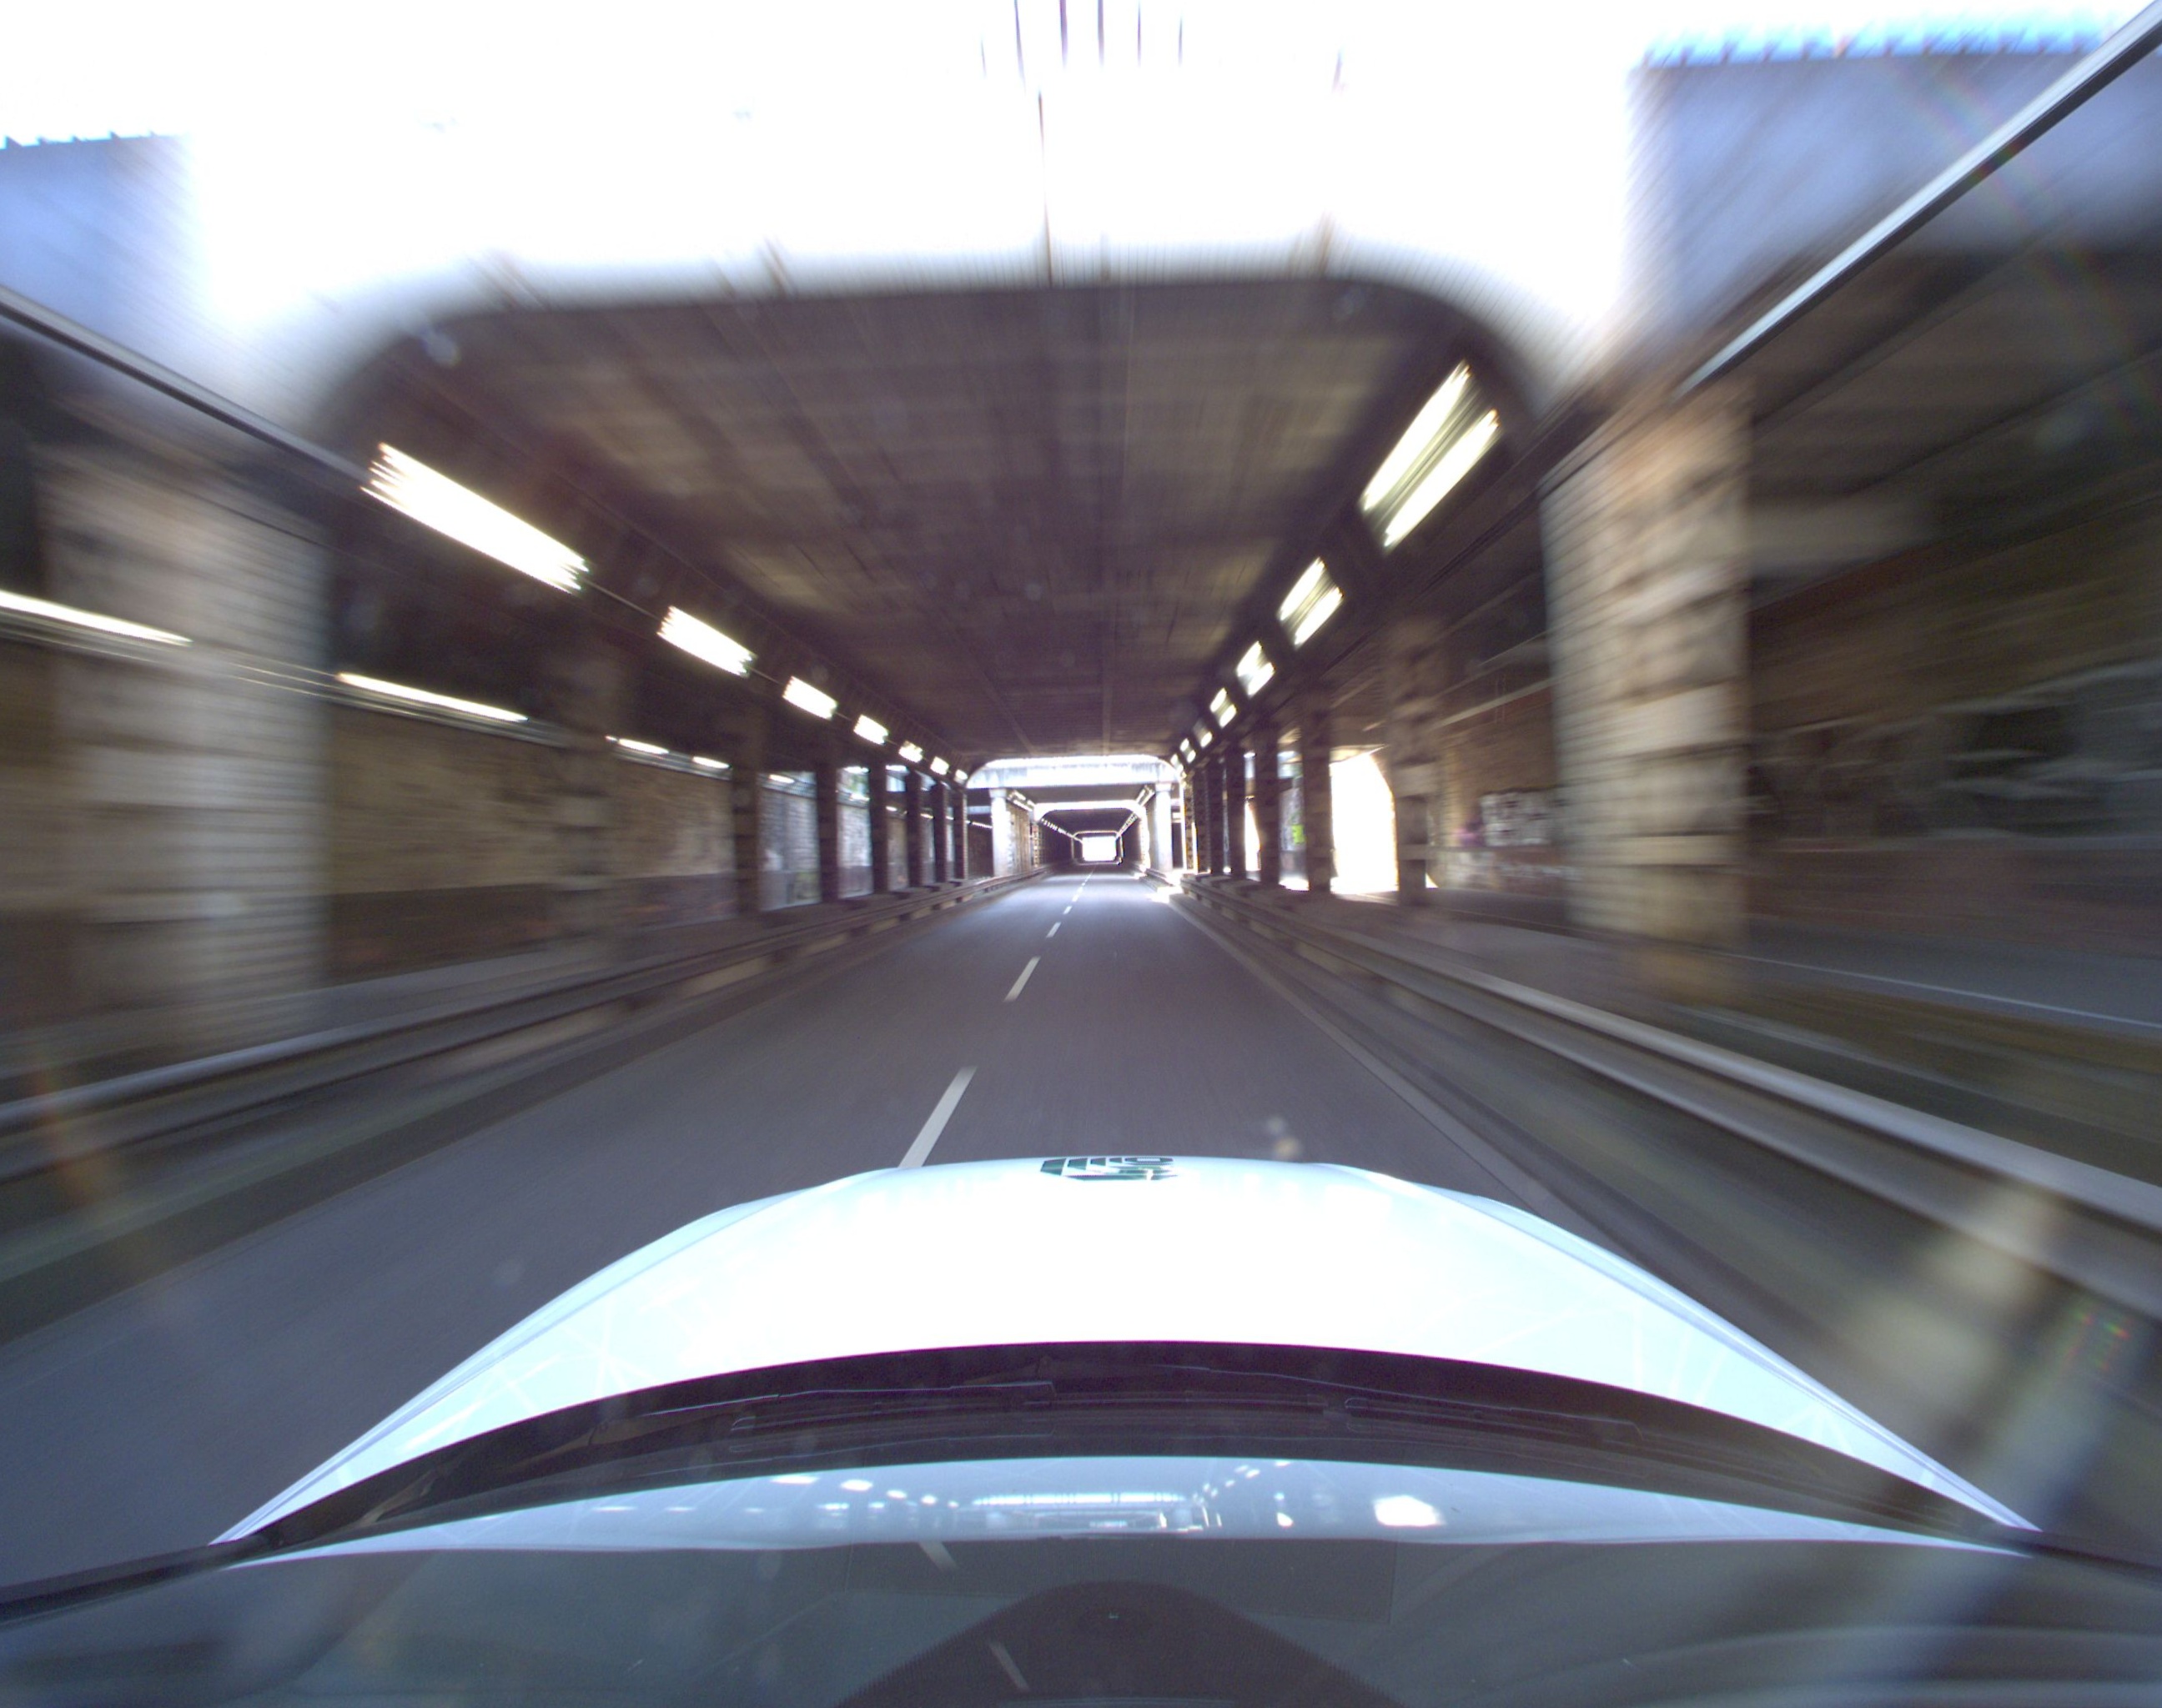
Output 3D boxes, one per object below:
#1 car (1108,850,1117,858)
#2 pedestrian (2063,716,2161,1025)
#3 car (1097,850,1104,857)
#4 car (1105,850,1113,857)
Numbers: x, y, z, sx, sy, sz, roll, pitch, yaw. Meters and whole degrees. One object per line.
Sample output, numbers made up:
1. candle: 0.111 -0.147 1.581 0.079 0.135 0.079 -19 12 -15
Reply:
1. car: 7.547 0.016 196.885 1.986 1.784 4.001 -2 0 1
2. pedestrian: 6.856 0.078 4.821 0.878 1.835 0.922 -4 0 -2
3. car: 5.094 -0.180 212.873 1.986 1.784 4.001 -2 0 1
4. car: 7.170 -0.179 206.276 1.986 1.784 4.001 -2 0 1
